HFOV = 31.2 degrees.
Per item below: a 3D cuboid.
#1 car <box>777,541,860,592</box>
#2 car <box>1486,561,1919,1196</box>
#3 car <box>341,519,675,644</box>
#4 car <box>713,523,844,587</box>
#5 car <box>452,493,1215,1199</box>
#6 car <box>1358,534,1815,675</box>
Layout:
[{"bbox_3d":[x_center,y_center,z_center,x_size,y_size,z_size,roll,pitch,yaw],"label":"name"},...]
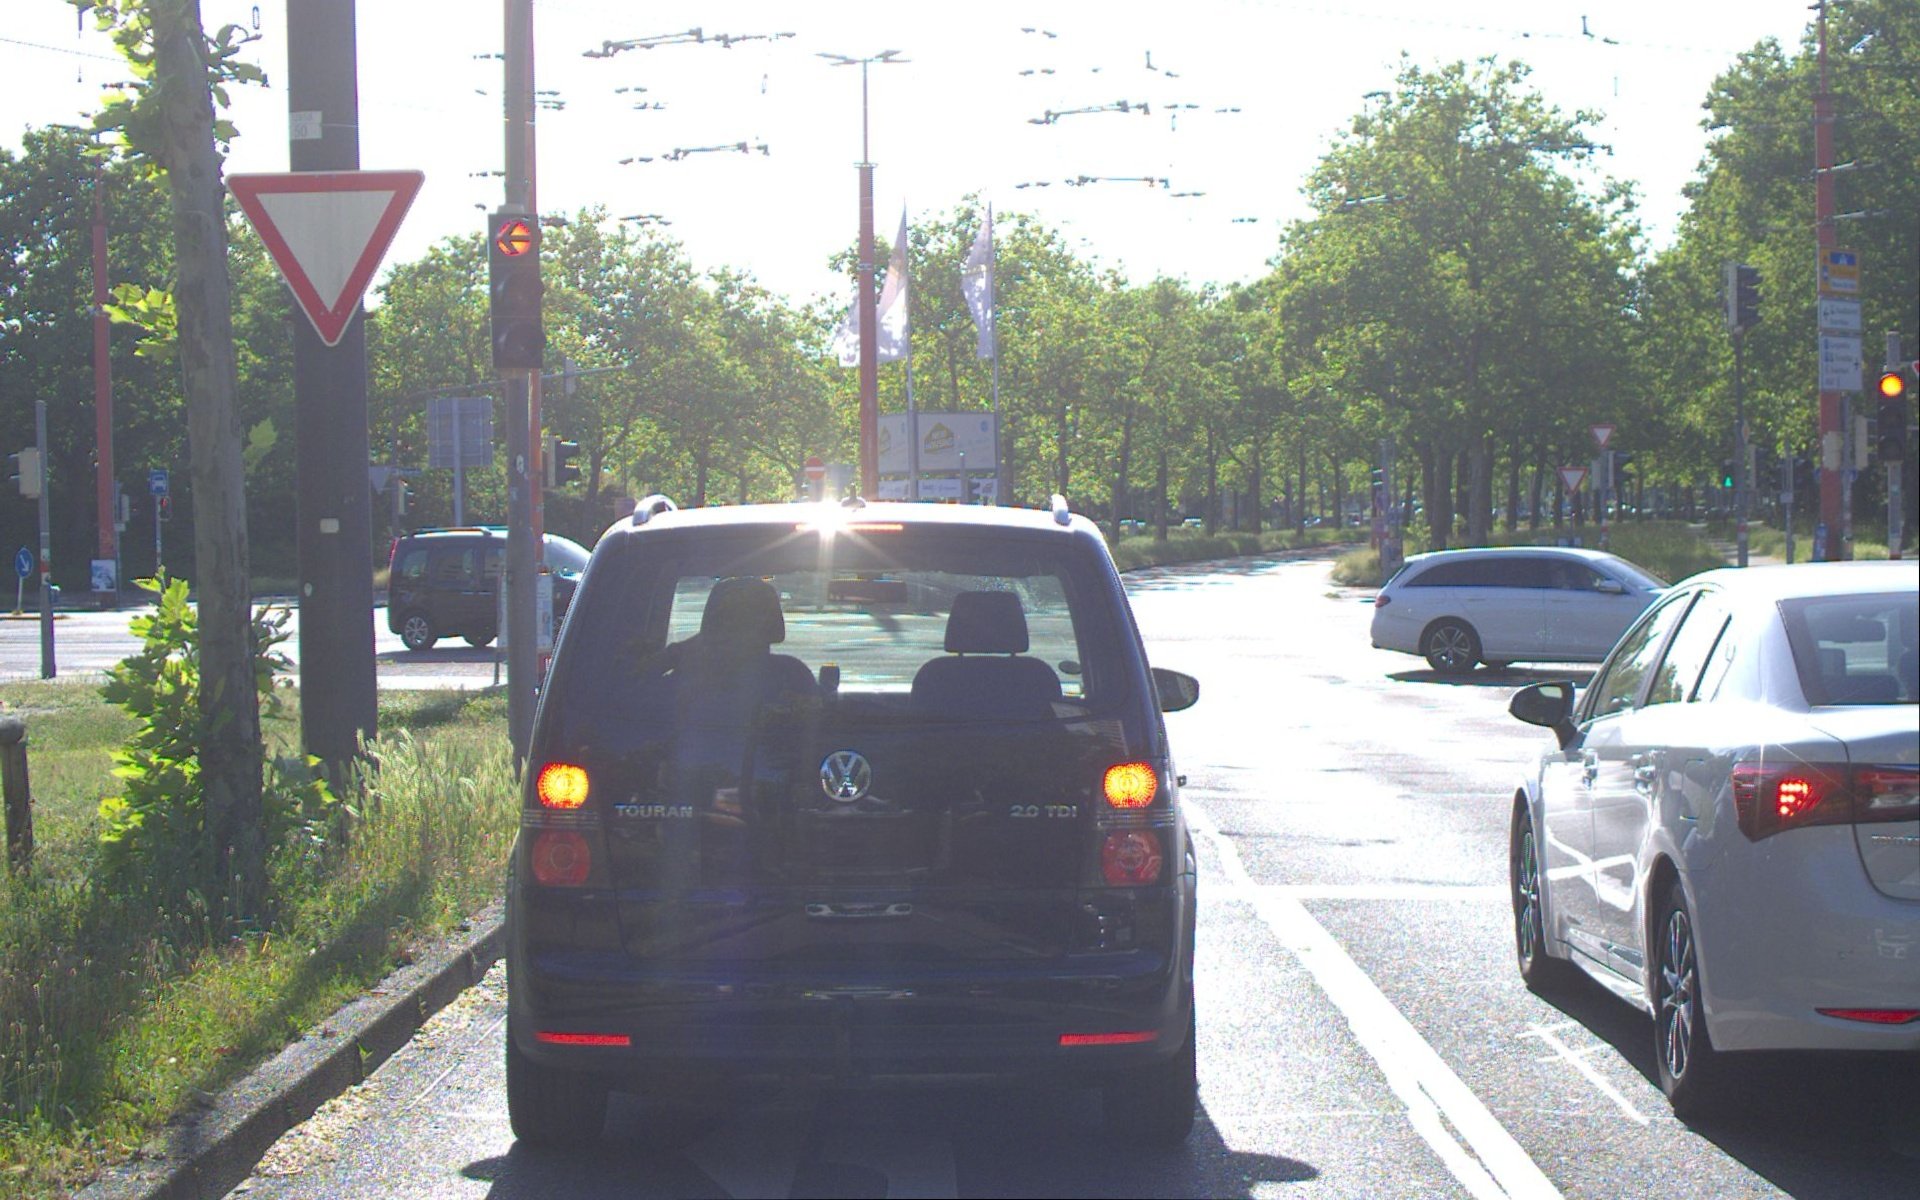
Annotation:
[{"bbox_3d":[-4.724,-1.142,115.199,1.994,1.679,4.827,0,1,7],"label":"car"},{"bbox_3d":[2.693,0.628,10.085,1.715,1.449,4.144,0,1,1],"label":"car"},{"bbox_3d":[-6.861,-0.296,52.110,4.787,1.829,1.911,0,1,27],"label":"car"},{"bbox_3d":[-4.890,-1.235,93.402,1.995,1.679,4.825,0,1,17],"label":"car"},{"bbox_3d":[-0.311,0.544,9.884,1.737,1.635,4.000,0,1,-1],"label":"car"},{"bbox_3d":[7.351,0.028,40.462,4.921,1.569,1.997,0,1,28],"label":"car"}]
